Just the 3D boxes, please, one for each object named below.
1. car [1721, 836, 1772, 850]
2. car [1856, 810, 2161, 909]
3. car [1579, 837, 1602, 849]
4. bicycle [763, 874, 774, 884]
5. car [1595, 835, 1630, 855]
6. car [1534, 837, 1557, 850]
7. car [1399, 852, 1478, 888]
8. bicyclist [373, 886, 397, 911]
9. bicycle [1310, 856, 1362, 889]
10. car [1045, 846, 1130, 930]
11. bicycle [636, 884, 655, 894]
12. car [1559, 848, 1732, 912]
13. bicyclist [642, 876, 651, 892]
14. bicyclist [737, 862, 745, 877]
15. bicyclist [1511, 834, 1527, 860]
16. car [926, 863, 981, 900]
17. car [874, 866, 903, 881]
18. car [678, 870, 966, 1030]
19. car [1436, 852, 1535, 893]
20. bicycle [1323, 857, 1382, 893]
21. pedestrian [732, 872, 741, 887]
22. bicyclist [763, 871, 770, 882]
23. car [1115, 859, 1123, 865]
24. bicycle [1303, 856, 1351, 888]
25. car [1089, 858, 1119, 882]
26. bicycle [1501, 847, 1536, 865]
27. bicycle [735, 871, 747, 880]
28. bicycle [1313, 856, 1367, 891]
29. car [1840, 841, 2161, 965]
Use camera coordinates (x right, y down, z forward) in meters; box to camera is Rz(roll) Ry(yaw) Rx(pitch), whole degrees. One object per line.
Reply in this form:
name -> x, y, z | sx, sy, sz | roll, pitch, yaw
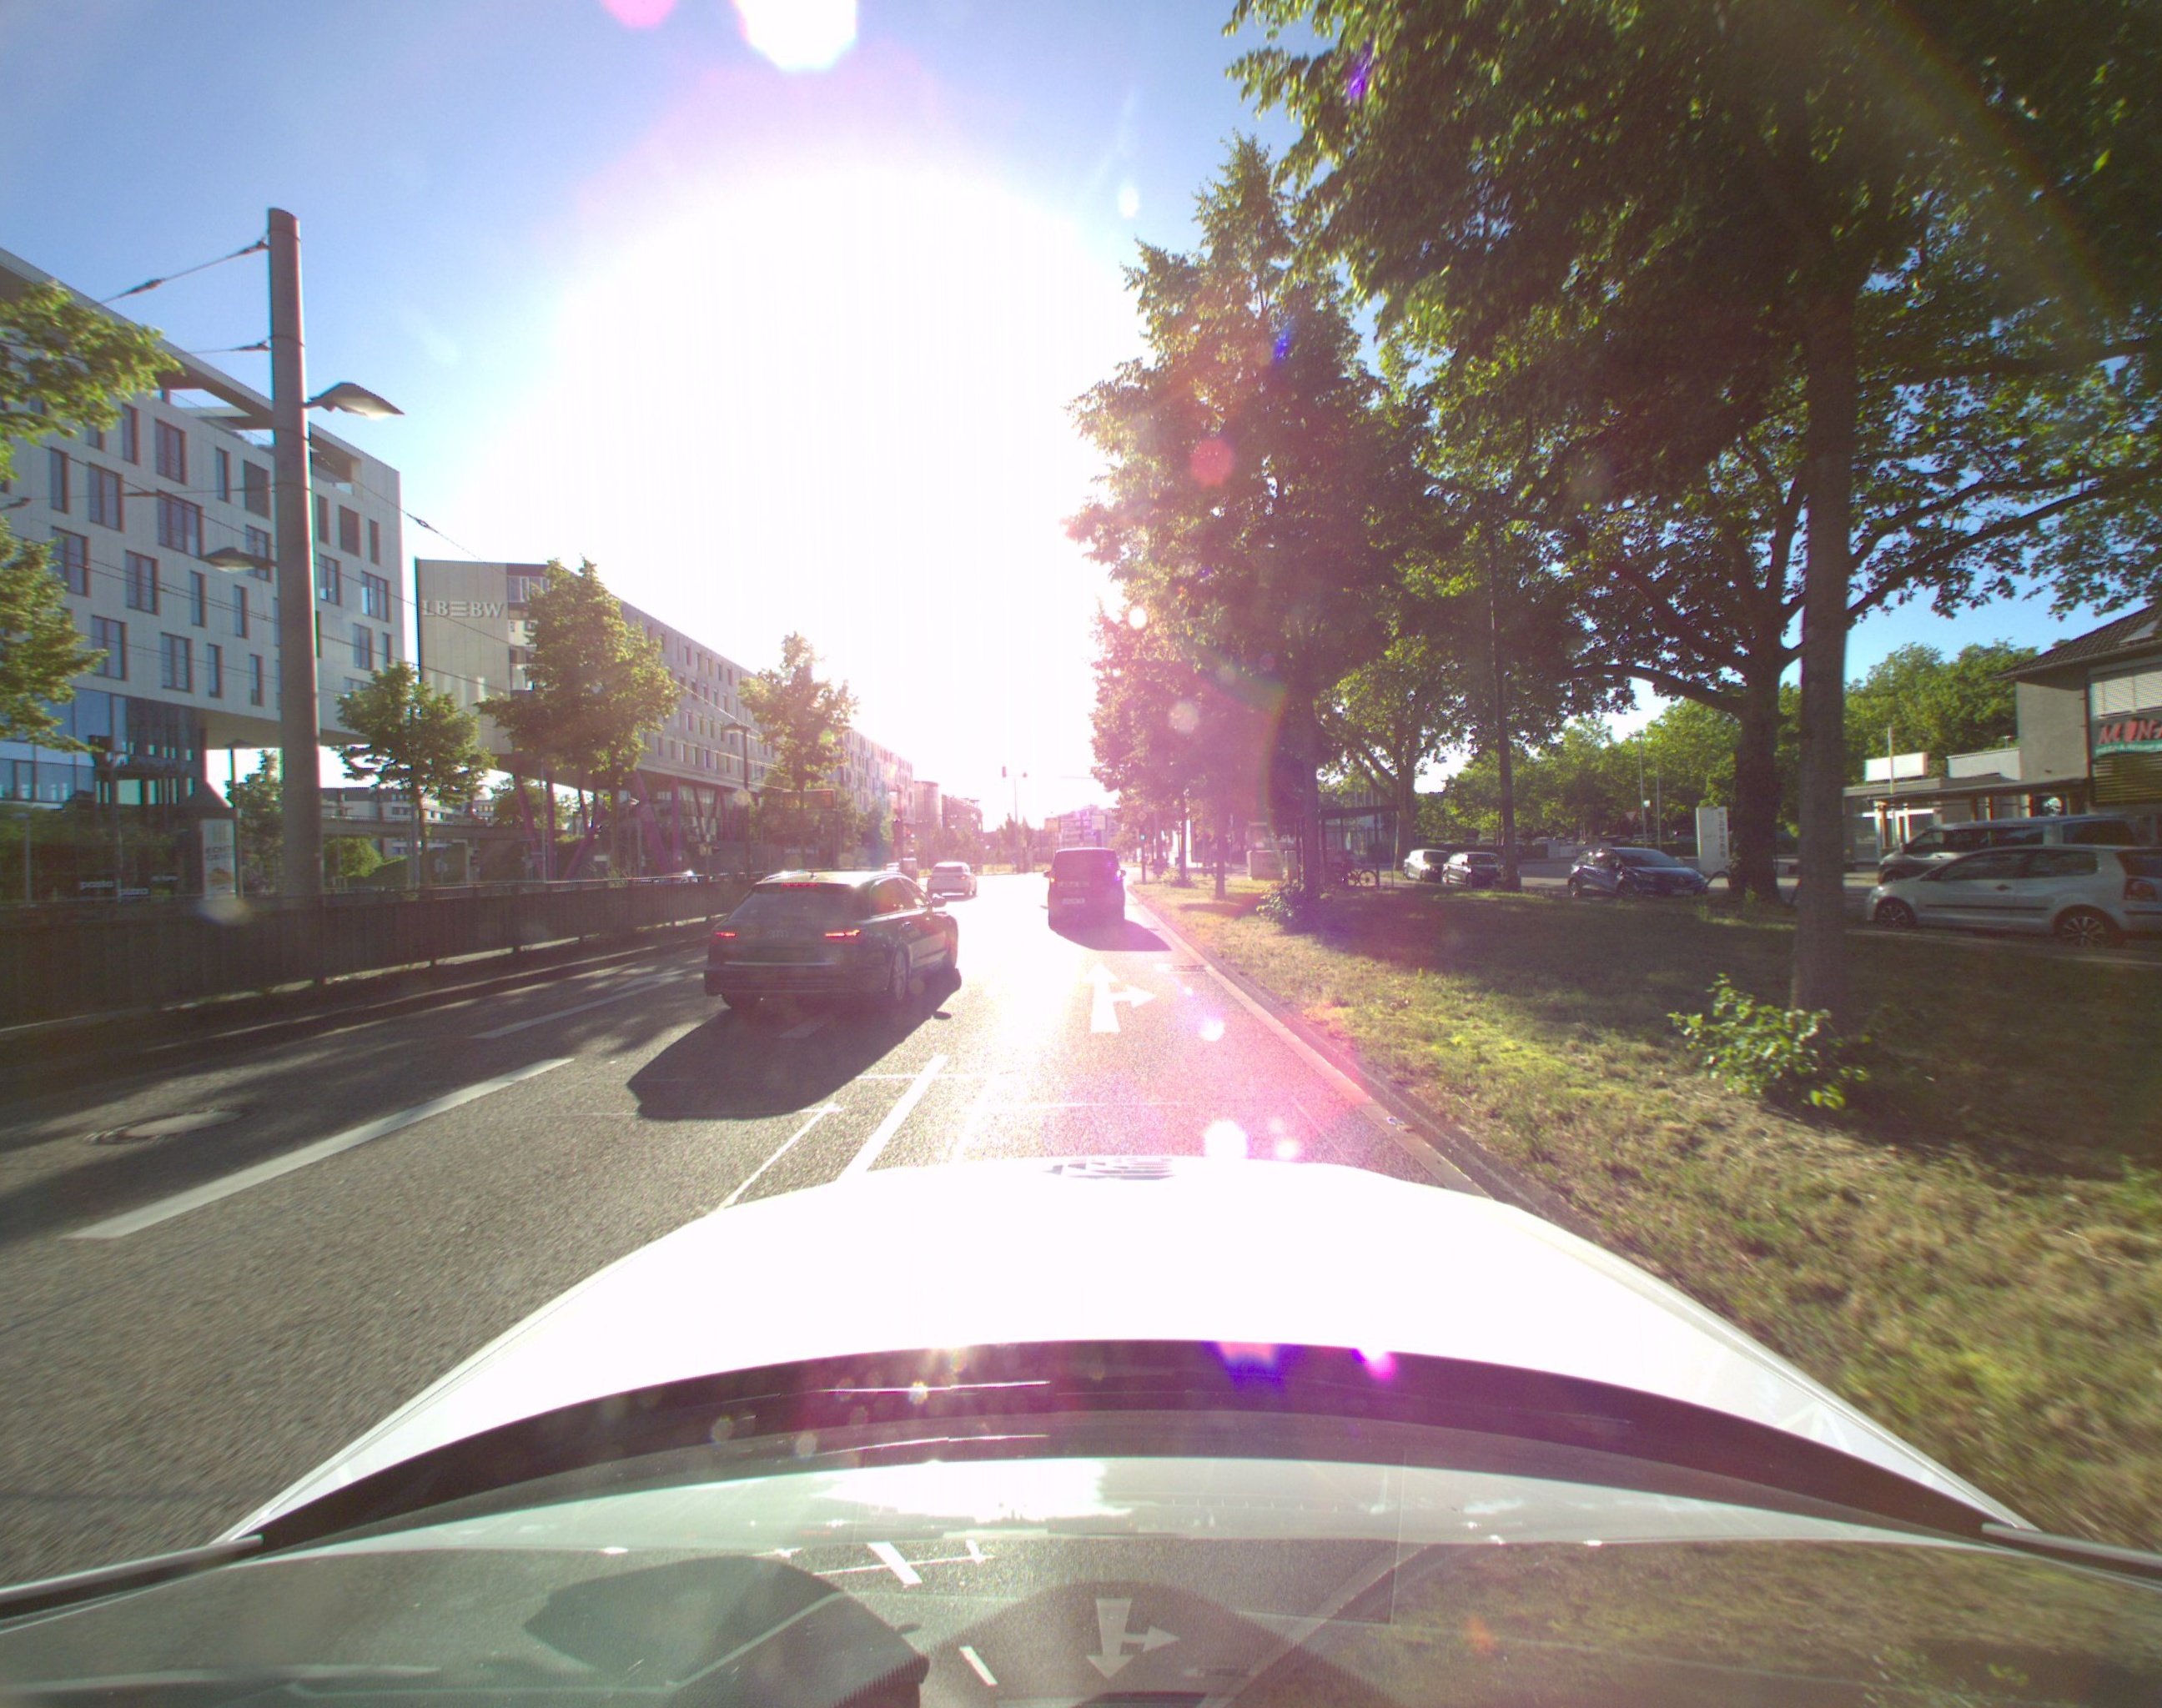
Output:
car -> 74.144, -1.244, 90.803 | 3.969, 1.465, 2.002 | -1, 0, 3
car -> 22.552, 0.140, 20.215 | 1.886, 2.037, 5.074 | -3, -1, 3
car -> 63.502, -1.371, 101.597 | 1.975, 1.465, 4.024 | -1, 0, 26
bicycle -> -41.508, 3.296, 108.188 | 0.518, 1.172, 1.975 | -2, -1, 1
car -> 41.307, -0.721, 63.378 | 1.974, 1.465, 4.025 | -1, 0, 30
car -> 53.924, -1.231, 94.547 | 1.975, 1.465, 4.024 | -1, 0, 26
car -> 15.486, 0.674, 35.494 | 1.886, 1.465, 4.041 | -1, 0, 4
bicyclist -> -46.237, 2.928, 54.098 | 0.949, 1.583, 0.751 | -2, 0, 2
bicycle -> 9.305, 0.665, 29.746 | 1.689, 1.169, 0.552 | -1, -1, 3
car -> 0.160, 0.760, 19.801 | 1.842, 1.815, 4.114 | 0, -1, 0
bicycle -> -39.750, 3.213, 74.411 | 0.478, 0.863, 1.699 | -2, 0, 16
car -> 14.787, 0.642, 21.675 | 1.885, 1.488, 4.352 | -1, 0, 5
bicyclist -> -39.746, 2.733, 74.482 | 0.478, 1.423, 0.555 | -2, 0, 16
bicyclist -> -38.835, 1.782, 92.970 | 0.527, 1.726, 0.838 | -2, 0, 2
bicyclist -> 31.030, -0.495, 57.733 | 0.866, 1.737, 0.837 | -2, 0, 32
car -> -5.308, 1.113, 34.295 | 1.666, 1.426, 4.005 | 0, -1, 0
car -> -21.075, 2.104, 89.470 | 1.987, 1.562, 4.870 | -2, 0, -1
car -> -2.761, 0.946, 9.961 | 1.805, 1.427, 4.693 | 0, 0, 3
car -> 15.264, 0.679, 31.018 | 1.885, 1.411, 4.351 | -1, 0, 4
bicycle -> 9.148, 0.703, 27.485 | 1.795, 1.169, 0.552 | -1, -1, 4
pedestrian -> -41.119, 3.030, 97.185 | 0.718, 1.822, 0.871 | -2, 0, 1
bicyclist -> -41.782, 3.007, 108.194 | 0.556, 1.496, 0.763 | -2, -1, 0
car -> 10.693, 2.275, 229.570 | 1.847, 1.481, 4.852 | -4, 0, 0
bicycle -> 9.328, 0.686, 30.899 | 1.686, 1.169, 0.552 | -1, -1, 9
car -> 1.500, 1.028, 53.961 | 1.847, 1.546, 3.999 | -1, 0, 0
bicycle -> 31.018, 0.168, 57.766 | 2.077, 1.203, 0.555 | -2, 0, 31
bicycle -> -38.810, 2.445, 92.898 | 0.525, 0.863, 1.834 | -2, 0, 2
bicycle -> 9.071, 0.688, 28.536 | 1.689, 1.169, 0.551 | -1, -1, 2
car -> 13.895, 0.593, 11.892 | 1.887, 1.486, 4.050 | -1, 0, 1
